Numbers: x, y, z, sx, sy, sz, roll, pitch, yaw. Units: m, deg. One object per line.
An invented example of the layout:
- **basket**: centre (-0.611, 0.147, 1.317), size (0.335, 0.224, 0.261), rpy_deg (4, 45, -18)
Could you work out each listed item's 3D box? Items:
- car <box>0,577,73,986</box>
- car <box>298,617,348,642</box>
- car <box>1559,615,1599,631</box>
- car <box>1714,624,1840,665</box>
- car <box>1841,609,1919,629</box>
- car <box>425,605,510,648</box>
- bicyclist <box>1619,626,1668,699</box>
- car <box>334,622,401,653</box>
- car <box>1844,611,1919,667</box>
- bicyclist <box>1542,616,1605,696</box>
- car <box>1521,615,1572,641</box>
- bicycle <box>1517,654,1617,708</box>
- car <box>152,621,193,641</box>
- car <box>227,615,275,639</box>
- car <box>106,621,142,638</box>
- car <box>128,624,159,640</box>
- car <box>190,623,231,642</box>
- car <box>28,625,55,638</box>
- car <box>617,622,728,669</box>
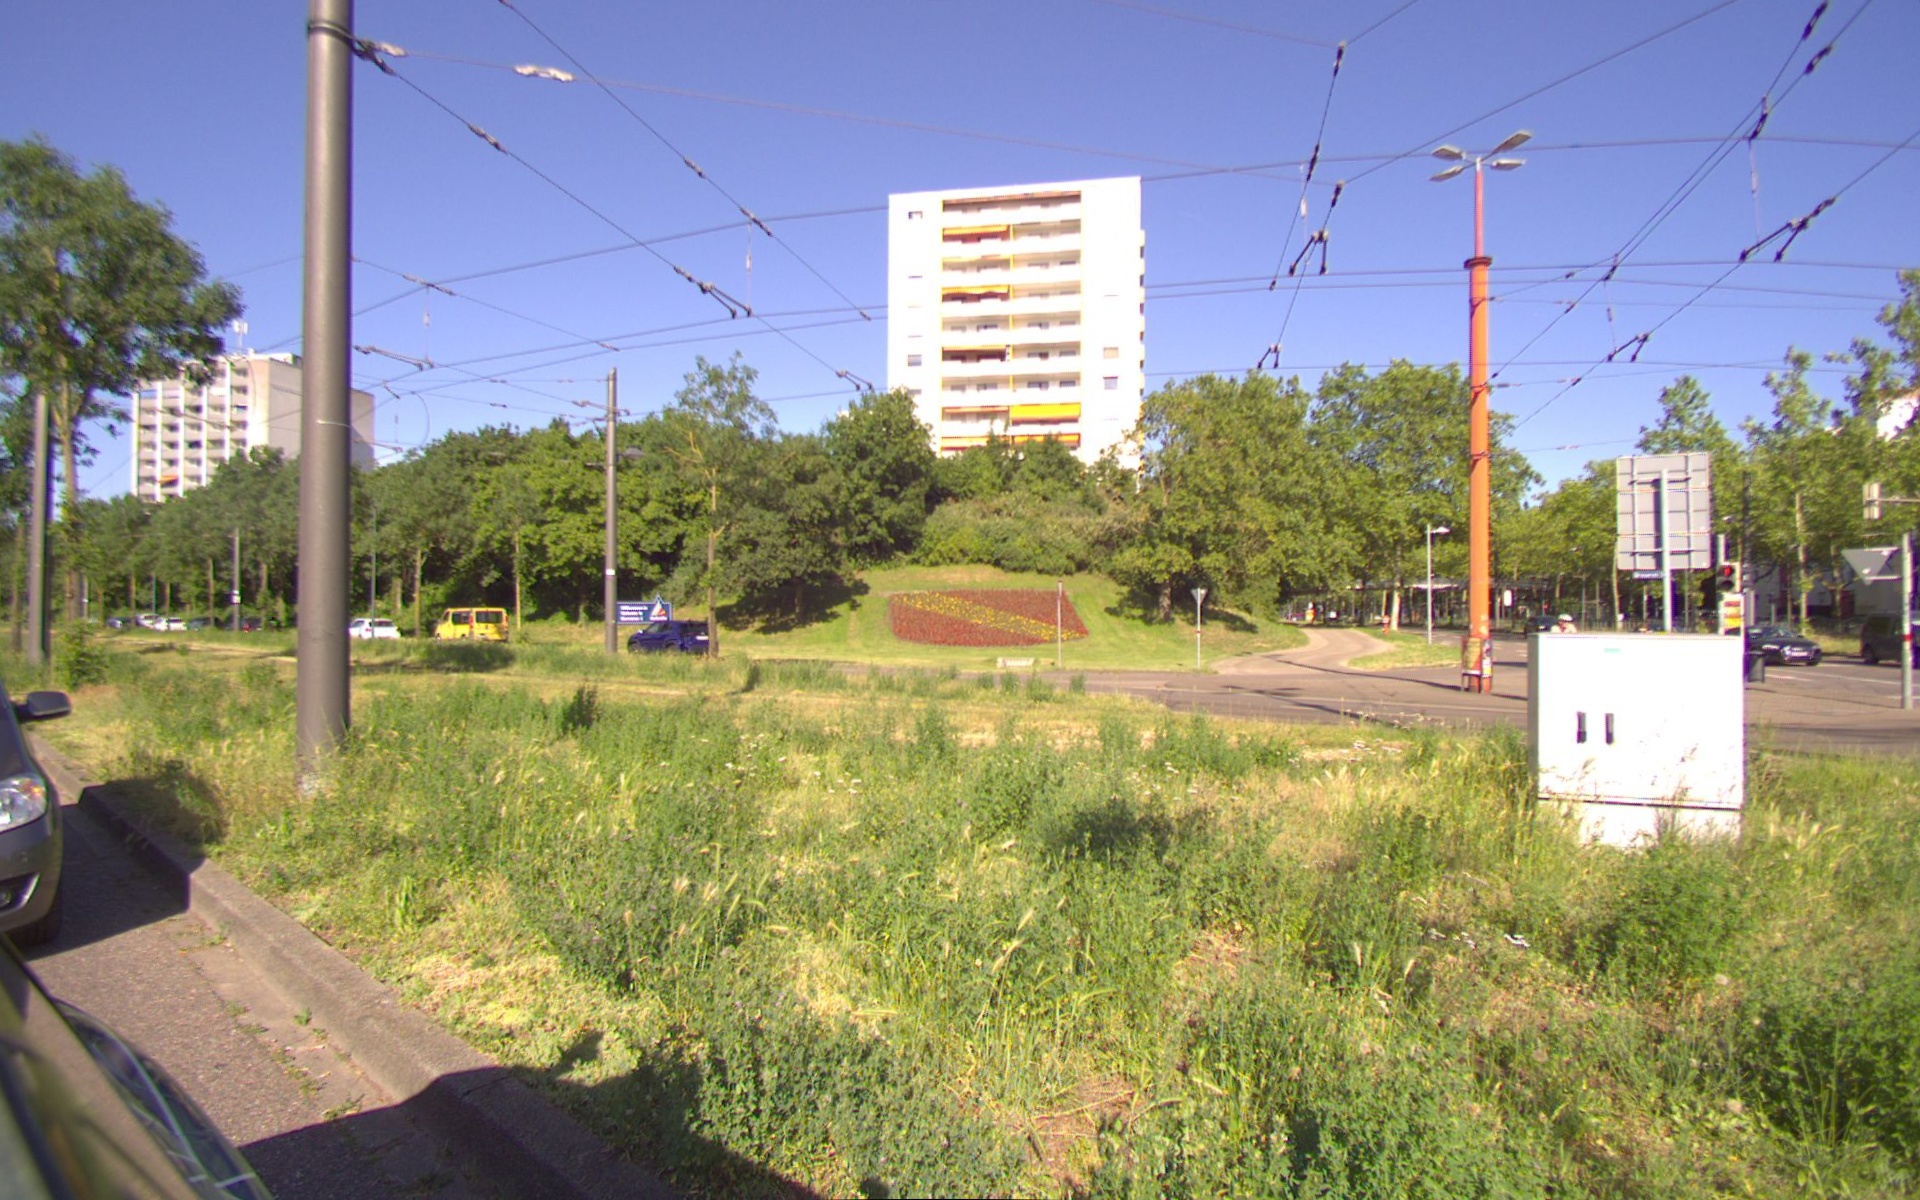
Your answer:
- **car**: centre (-5.730, 0.746, 4.838), size (3.879, 1.634, 1.737), rpy_deg (-1, -2, 41)
- **car**: centre (-39.567, 1.811, 62.838), size (1.767, 1.519, 4.244), rpy_deg (1, -2, -44)
- **car**: centre (79.737, 2.992, 130.477), size (3.969, 2.029, 1.987), rpy_deg (-1, -1, 20)
- **car**: centre (28.540, 1.519, 35.539), size (1.749, 1.360, 4.342), rpy_deg (-1, -1, 15)
- **car**: centre (65.882, 1.375, 72.376), size (1.770, 1.420, 4.010), rpy_deg (1, -1, -36)
- **car**: centre (-24.176, 1.327, 49.584), size (4.905, 1.981, 1.972), rpy_deg (-2, -4, 42)
- **bicyclist**: centre (13.376, 1.216, 19.806), size (0.435, 1.391, 0.631), rpy_deg (0, -2, -20)
- **car**: centre (-28.834, 1.806, 49.203), size (4.020, 1.418, 1.671), rpy_deg (-2, -1, 42)
- **car**: centre (30.786, 1.227, 32.144), size (1.828, 1.721, 4.300), rpy_deg (0, -2, 5)
- **bicyclist**: centre (12.209, 1.097, 20.156), size (0.719, 1.557, 0.770), rpy_deg (0, -2, -20)
- **car**: centre (40.411, 1.905, 69.804), size (1.833, 1.721, 4.288), rpy_deg (-1, -2, 13)
- **bicycle**: centre (12.122, 1.604, 20.267), size (0.673, 0.968, 1.650), rpy_deg (0, -1, -20)
- **car**: centre (-59.017, 2.282, 75.797), size (4.000, 1.429, 1.842), rpy_deg (-1, -2, 43)
- **car**: centre (-43.910, 1.660, 62.652), size (1.774, 1.427, 4.313), rpy_deg (0, -1, -45)
- **car**: centre (-70.845, 2.507, 85.772), size (4.229, 1.371, 1.801), rpy_deg (-1, -2, 43)
- **car**: centre (-73.817, 2.893, 91.436), size (4.001, 1.386, 1.717), rpy_deg (-1, -2, 44)
- **car**: centre (-58.159, 2.499, 78.462), size (4.000, 1.429, 1.843), rpy_deg (-1, -2, 43)
- **car**: centre (-104.282, 3.533, 114.901), size (3.998, 1.475, 1.779), rpy_deg (-1, -2, 41)
- **car**: centre (-10.503, 1.622, 36.874), size (4.105, 1.586, 1.973), rpy_deg (-2, -1, 41)
